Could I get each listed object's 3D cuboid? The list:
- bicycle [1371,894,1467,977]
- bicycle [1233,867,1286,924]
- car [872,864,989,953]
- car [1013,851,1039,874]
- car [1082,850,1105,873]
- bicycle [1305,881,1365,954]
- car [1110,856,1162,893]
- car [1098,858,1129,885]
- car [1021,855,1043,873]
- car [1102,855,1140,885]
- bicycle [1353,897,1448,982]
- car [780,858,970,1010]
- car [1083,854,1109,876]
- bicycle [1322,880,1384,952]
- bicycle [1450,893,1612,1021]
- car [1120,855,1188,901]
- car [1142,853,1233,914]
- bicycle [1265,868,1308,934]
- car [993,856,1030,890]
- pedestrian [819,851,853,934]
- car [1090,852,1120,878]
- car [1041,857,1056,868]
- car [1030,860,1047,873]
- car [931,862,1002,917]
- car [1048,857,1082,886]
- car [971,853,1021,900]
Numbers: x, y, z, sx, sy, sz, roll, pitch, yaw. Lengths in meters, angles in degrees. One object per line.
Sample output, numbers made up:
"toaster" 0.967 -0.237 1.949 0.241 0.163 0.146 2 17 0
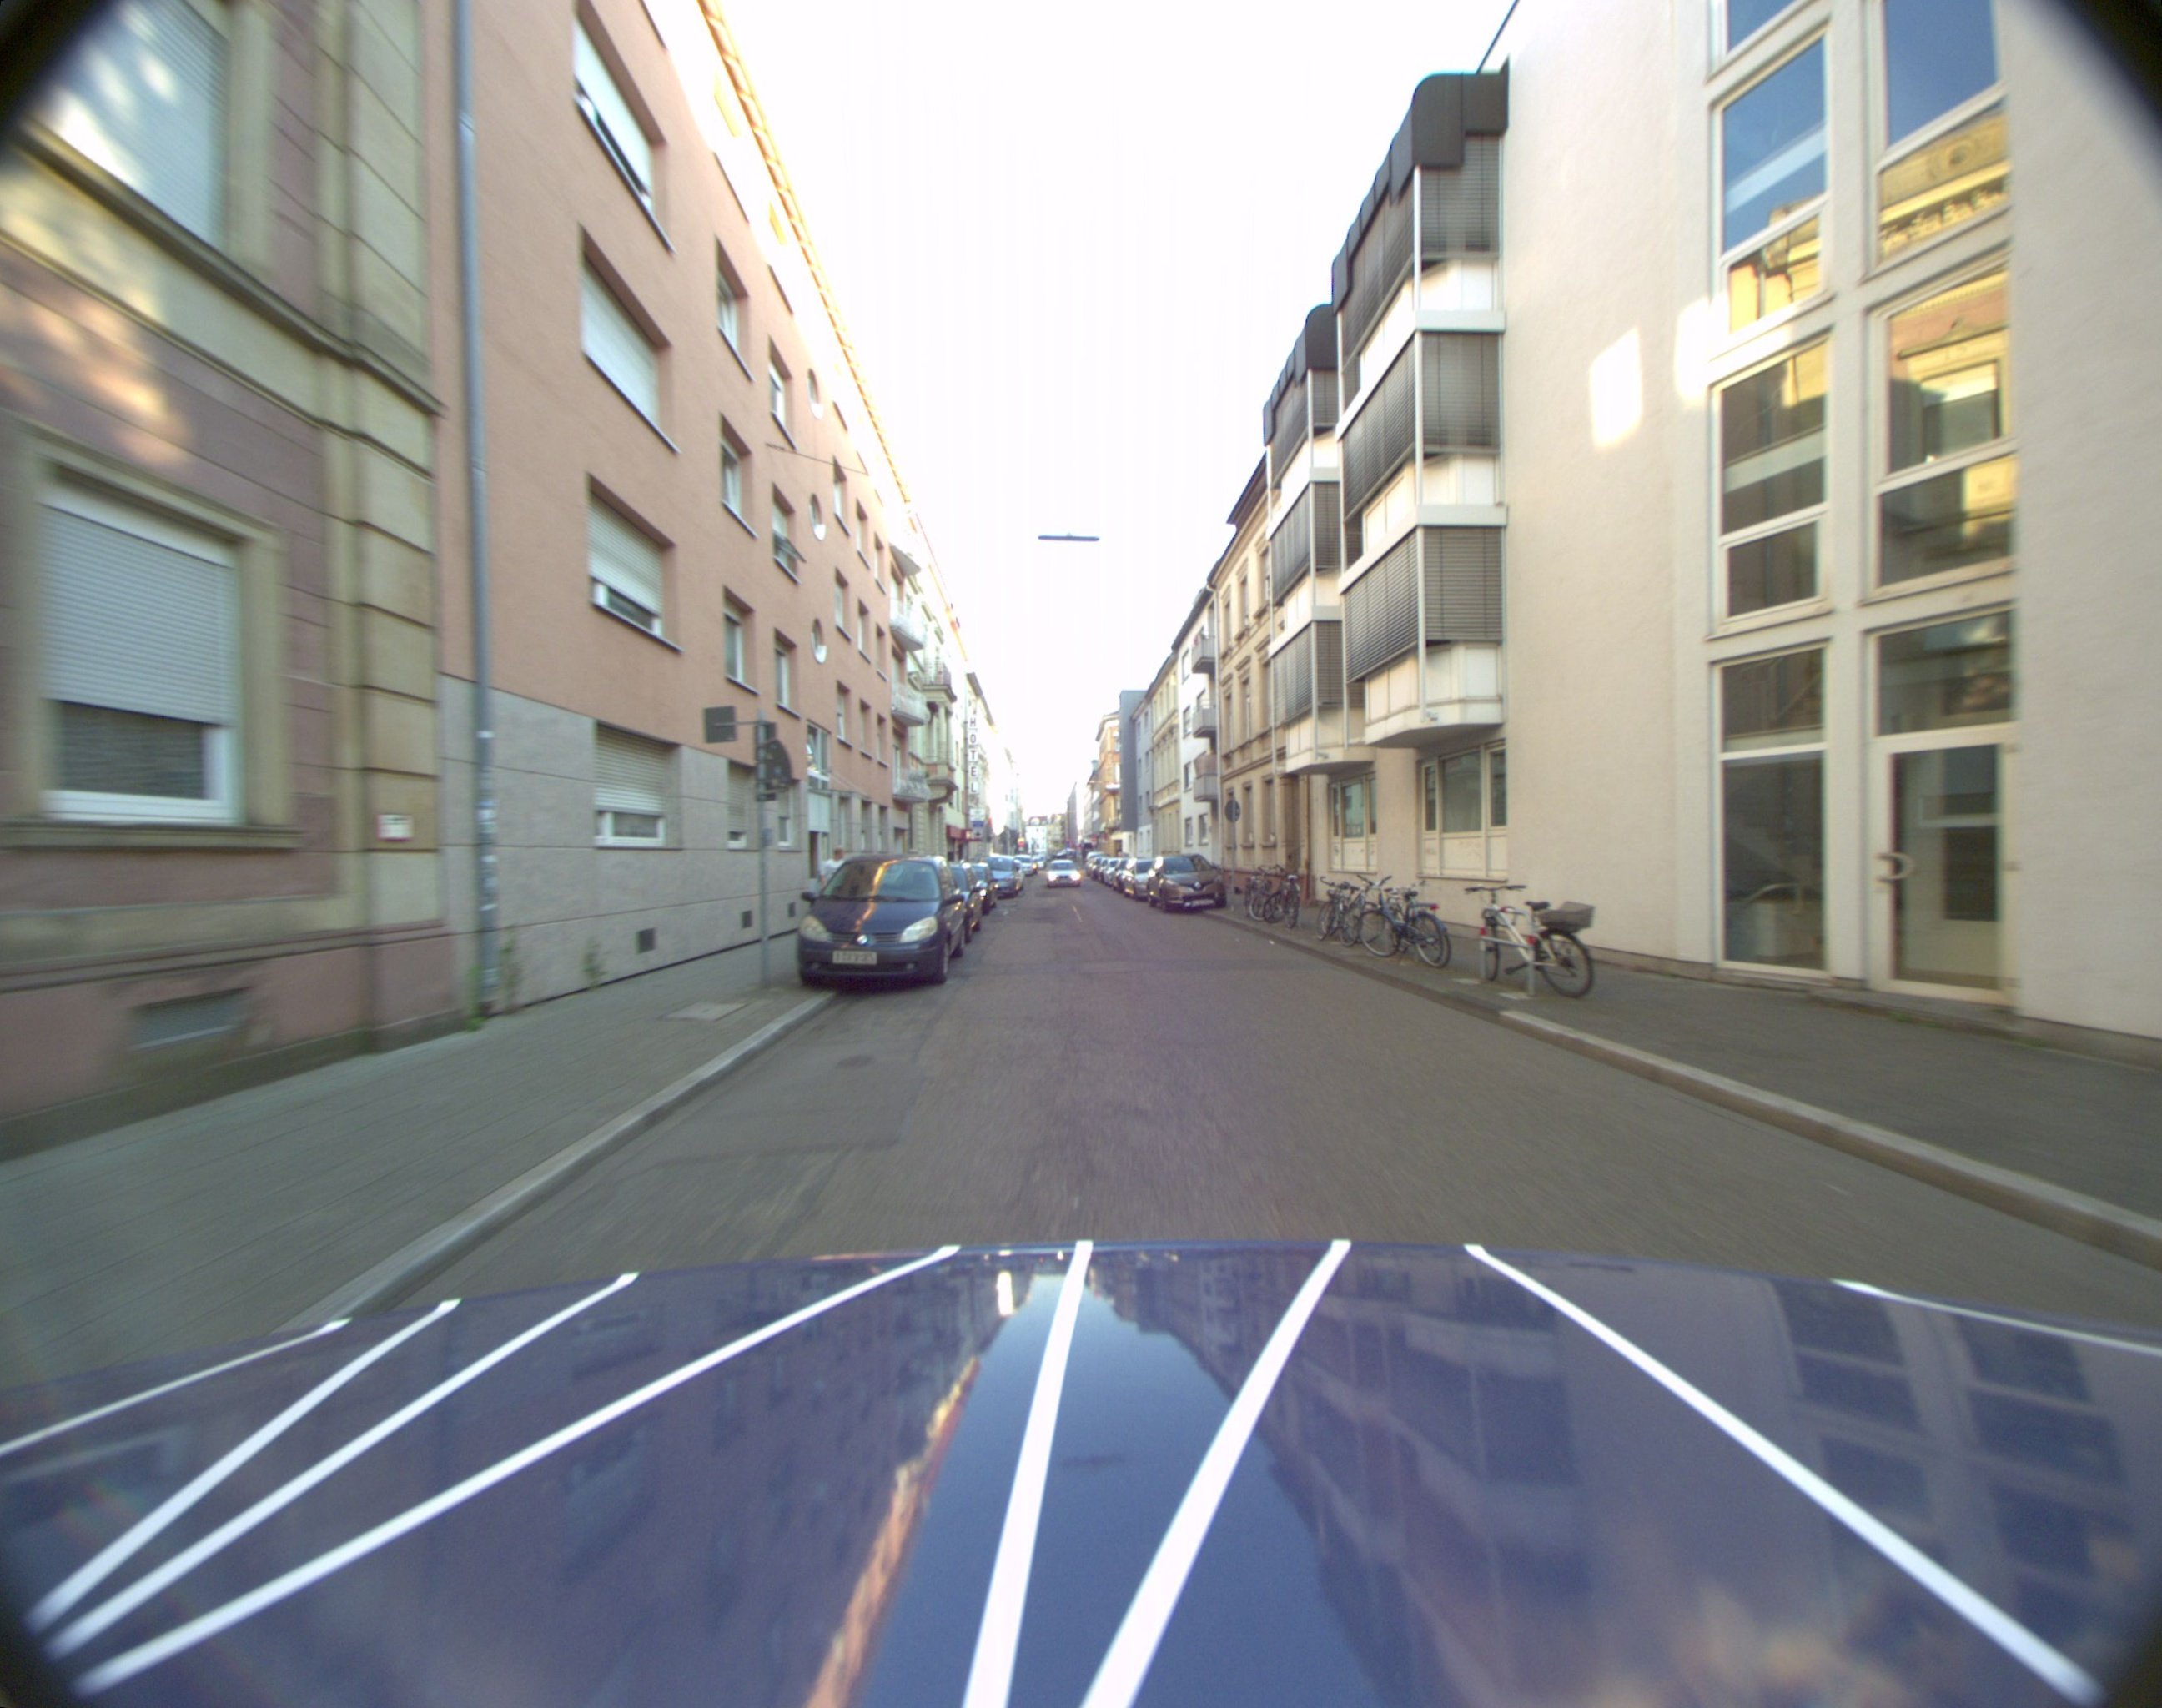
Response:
"bicycle" 4.478 1.049 10.193 0.308 0.926 1.812 -1 0 -5
"bicycle" 4.036 0.908 17.368 0.597 1.180 2.265 -2 0 -1
"car" -2.955 1.001 15.748 1.694 1.505 4.282 -1 0 -2
"car" -4.510 0.684 62.728 1.842 1.685 4.358 4 0 -1
"car" 1.011 0.589 62.854 1.642 1.786 3.782 -1 0 -2
"bicycle" 4.123 0.998 12.439 0.308 1.036 1.813 -2 0 -1
"car" 2.395 0.869 34.012 1.795 1.530 4.493 -1 0 -2
"car" 1.878 0.993 45.183 1.642 1.480 3.954 -1 0 0
"car" -4.358 0.869 68.194 1.729 1.469 3.975 -2 0 -1
"car" 2.057 0.827 40.148 1.642 1.480 3.788 -1 0 -2
"bicycle" 4.158 1.077 10.024 0.308 0.926 1.812 -1 0 -6
"car" -2.545 0.879 10.360 1.694 1.615 4.053 -1 0 -4
"car" 1.101 0.830 57.940 1.643 1.571 3.782 -1 0 -4
"bicycle" 4.465 0.985 12.565 0.308 1.036 1.813 -2 0 -1
"bicycle" 4.630 1.005 7.971 0.401 1.096 1.812 -2 0 -8
"car" 2.606 0.834 28.124 1.796 1.530 4.432 -1 0 -4
"car" 3.010 0.794 22.289 1.796 1.567 4.069 -1 0 -4
"bicycle" 4.087 0.906 15.228 0.308 1.215 1.813 -2 0 -1
"car" -3.395 0.903 37.663 1.574 1.569 3.589 -1 0 -2
"pedestrian" -5.234 0.811 16.272 0.551 1.733 0.568 -1 0 -3
"car" 1.584 0.713 51.437 1.643 1.701 3.782 -1 0 -4
"car" -3.987 1.030 94.419 1.730 1.390 3.892 -1 0 -1
"car" -4.739 1.397 84.973 1.730 1.390 3.892 -1 0 -1
"car" -3.417 1.014 23.306 1.694 1.449 4.131 -1 0 -2
"car" -0.908 0.908 41.048 1.681 1.395 4.470 -2 0 -2
"car" -3.358 0.845 30.768 1.694 1.731 4.108 -1 0 -2
